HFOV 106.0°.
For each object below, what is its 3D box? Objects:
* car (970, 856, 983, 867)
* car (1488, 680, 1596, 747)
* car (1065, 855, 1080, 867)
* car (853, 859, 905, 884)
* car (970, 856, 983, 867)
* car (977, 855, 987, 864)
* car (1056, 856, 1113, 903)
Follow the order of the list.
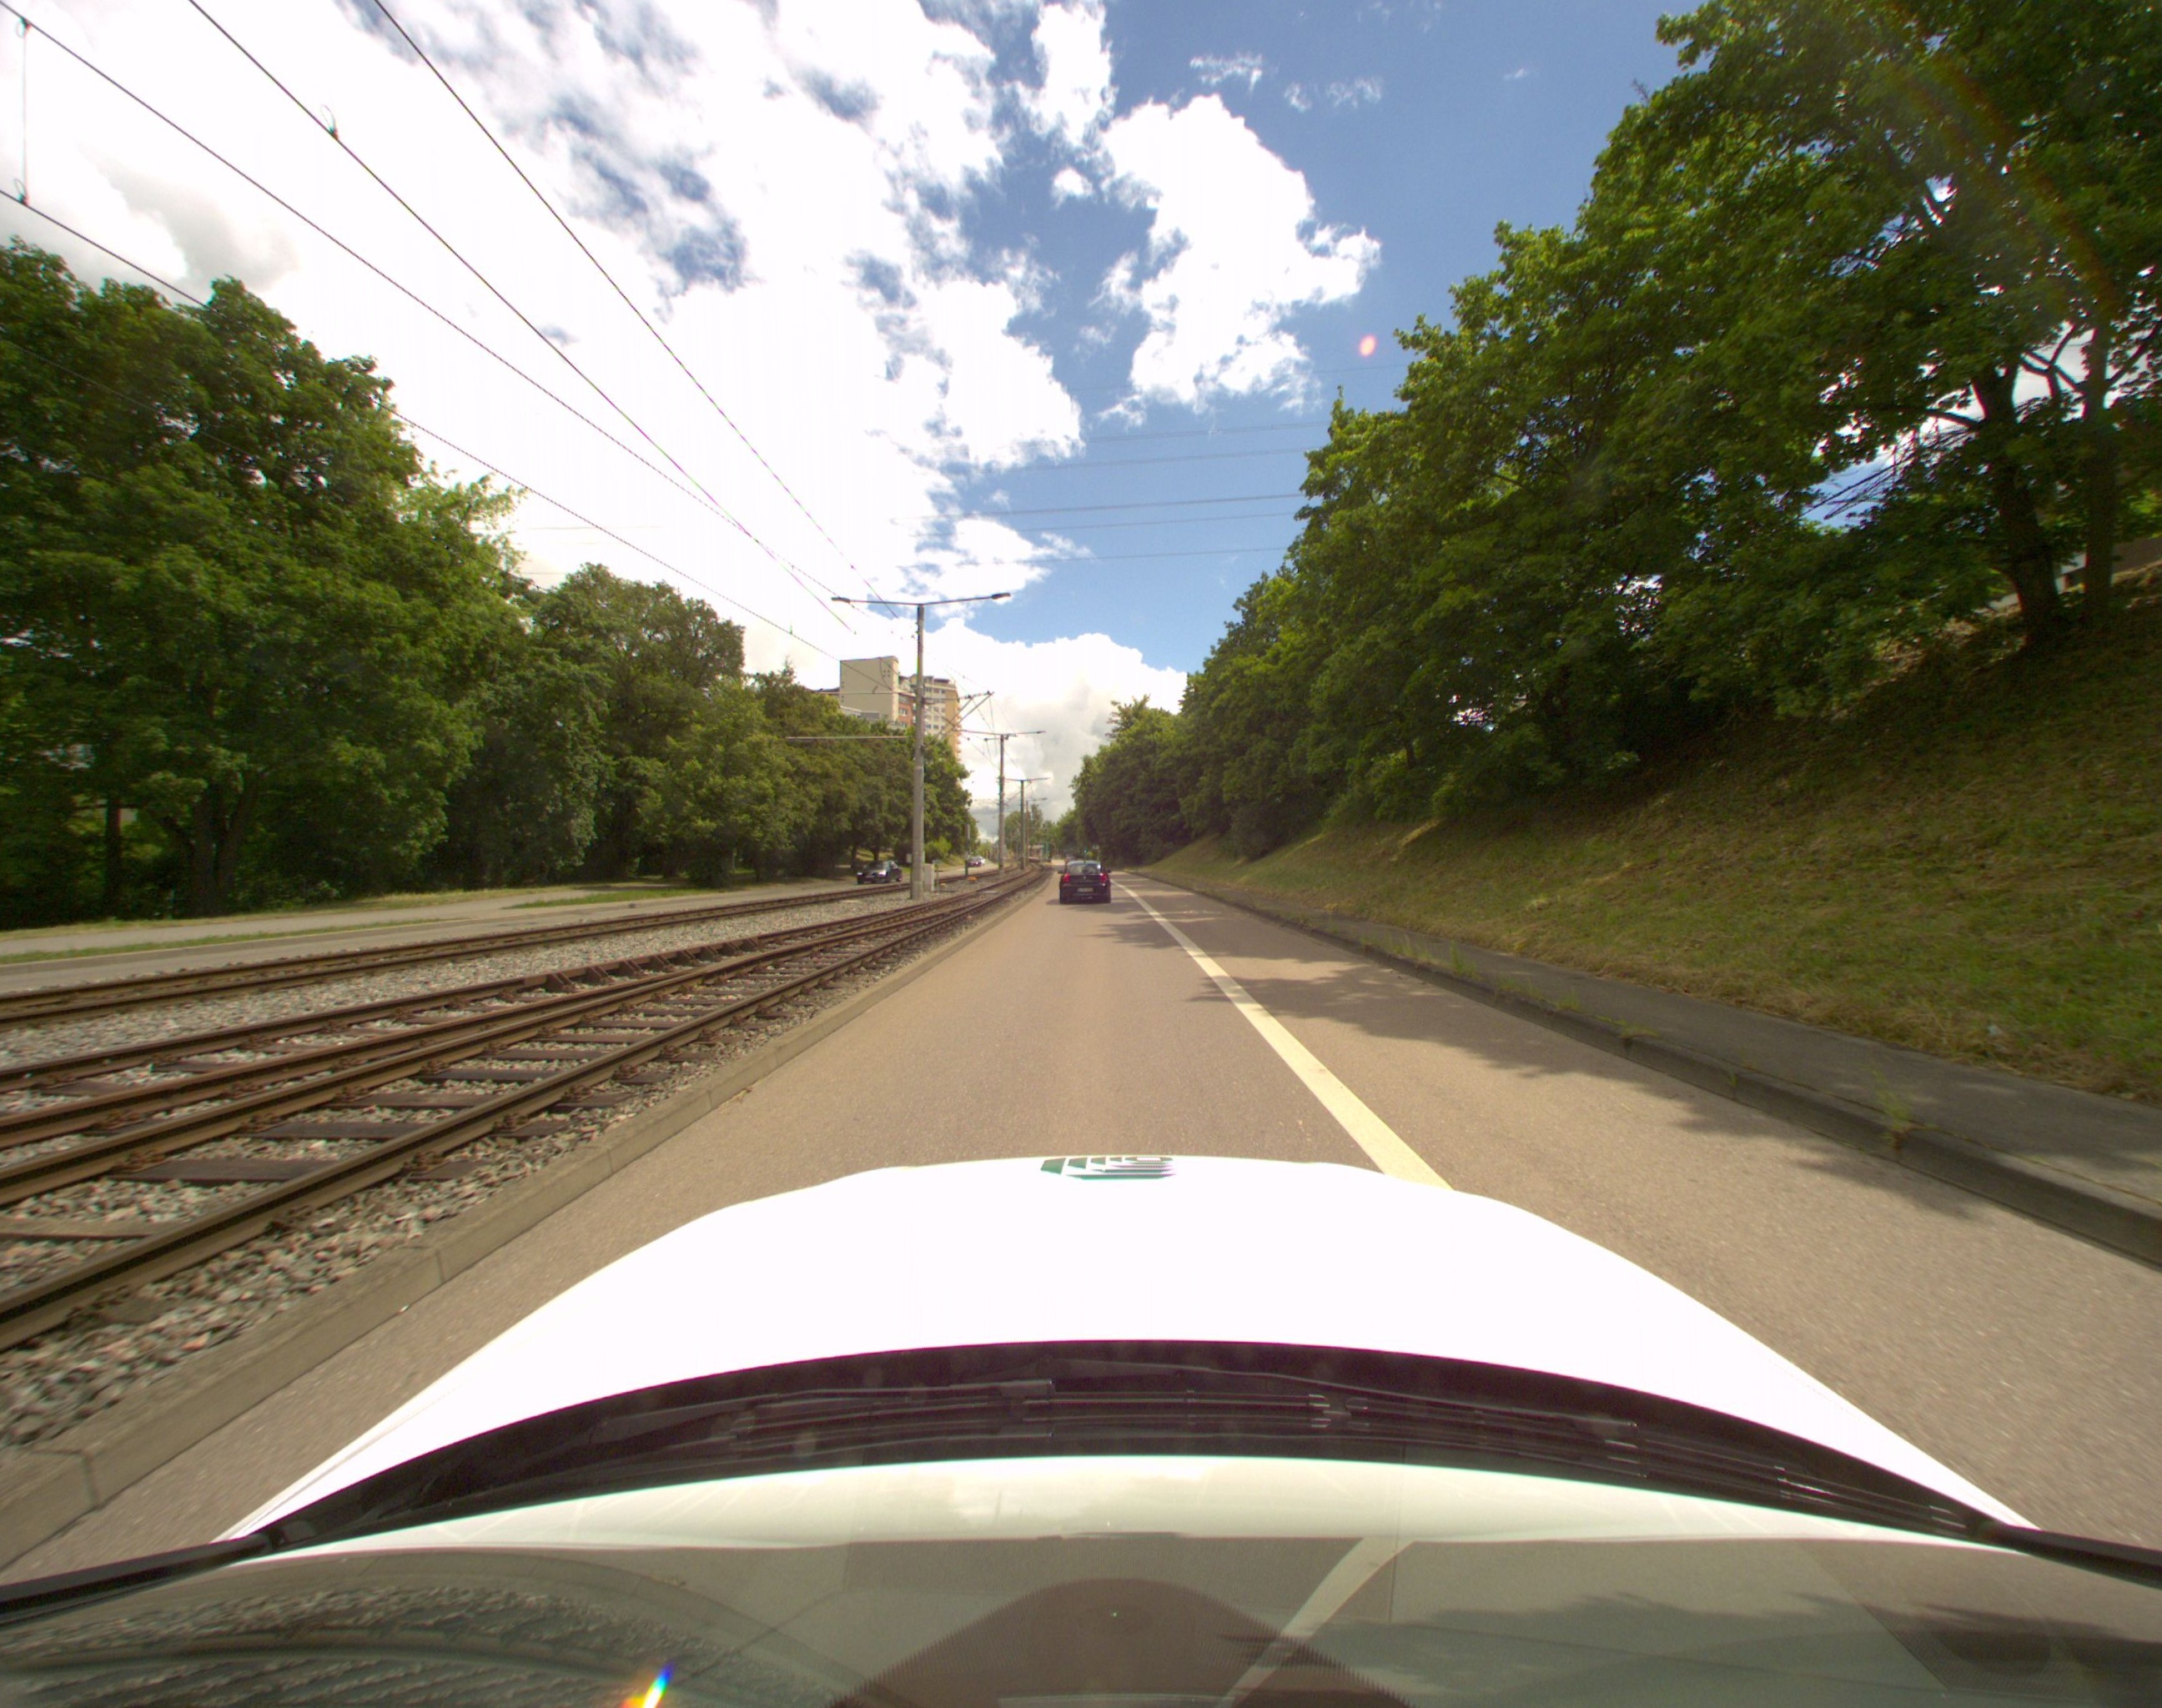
[{"bbox_3d":[-15.547,1.112,121.137,1.771,1.498,3.991,-1,0,-4],"label":"car"},{"bbox_3d":[16.367,-4.933,29.146,1.638,1.687,4.044,-1,0,1],"label":"car"},{"bbox_3d":[-1.055,0.871,99.555,1.776,1.459,3.918,-1,0,-2],"label":"car"},{"bbox_3d":[-12.306,1.029,49.928,1.829,1.391,4.863,-3,0,2],"label":"car"},{"bbox_3d":[-16.353,1.123,127.696,1.771,1.630,4.375,-1,-1,-4],"label":"car"},{"bbox_3d":[-17.584,0.960,144.734,1.780,1.532,4.233,-1,0,-7],"label":"car"},{"bbox_3d":[0.052,0.840,28.202,1.777,1.459,3.917,-2,0,-3],"label":"car"}]
